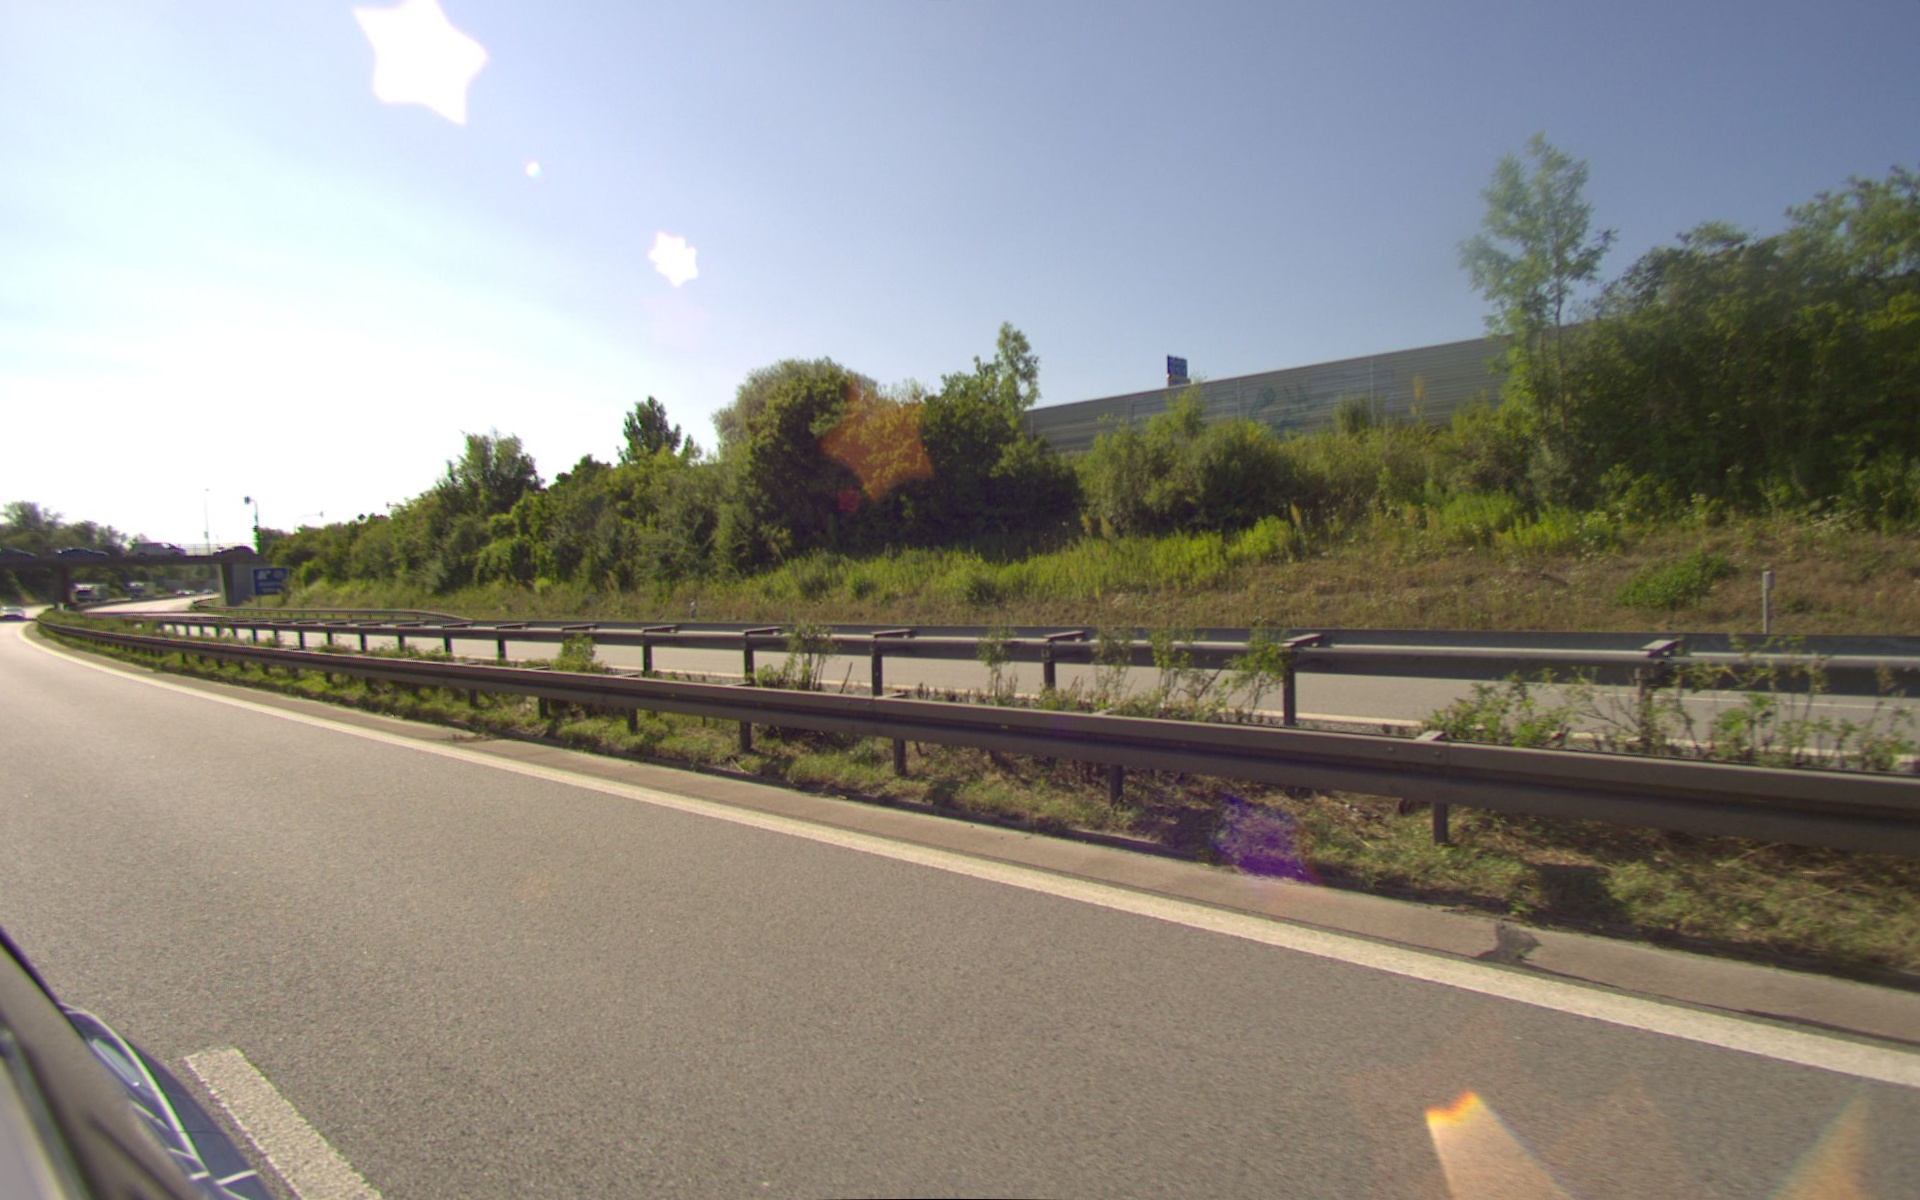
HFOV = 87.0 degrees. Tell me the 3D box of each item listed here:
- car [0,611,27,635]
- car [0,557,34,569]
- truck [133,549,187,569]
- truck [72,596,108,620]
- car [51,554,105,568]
[{"bbox_3d":[-87.599,2.138,93.357,1.969,2.028,4.606,-4,2,-41],"label":"car"},{"bbox_3d":[-100.596,-3.901,107.053,3.786,1.315,1.827,-1,2,-41],"label":"car"},{"bbox_3d":[-91.336,-4.672,115.545,4.795,2.183,2.004,-1,1,-40],"label":"truck"},{"bbox_3d":[-165.798,1.462,192.959,3.379,4.243,12.121,-1,1,-32],"label":"truck"},{"bbox_3d":[-96.708,-4.259,111.054,4.373,1.567,1.910,-1,2,-41],"label":"car"}]
